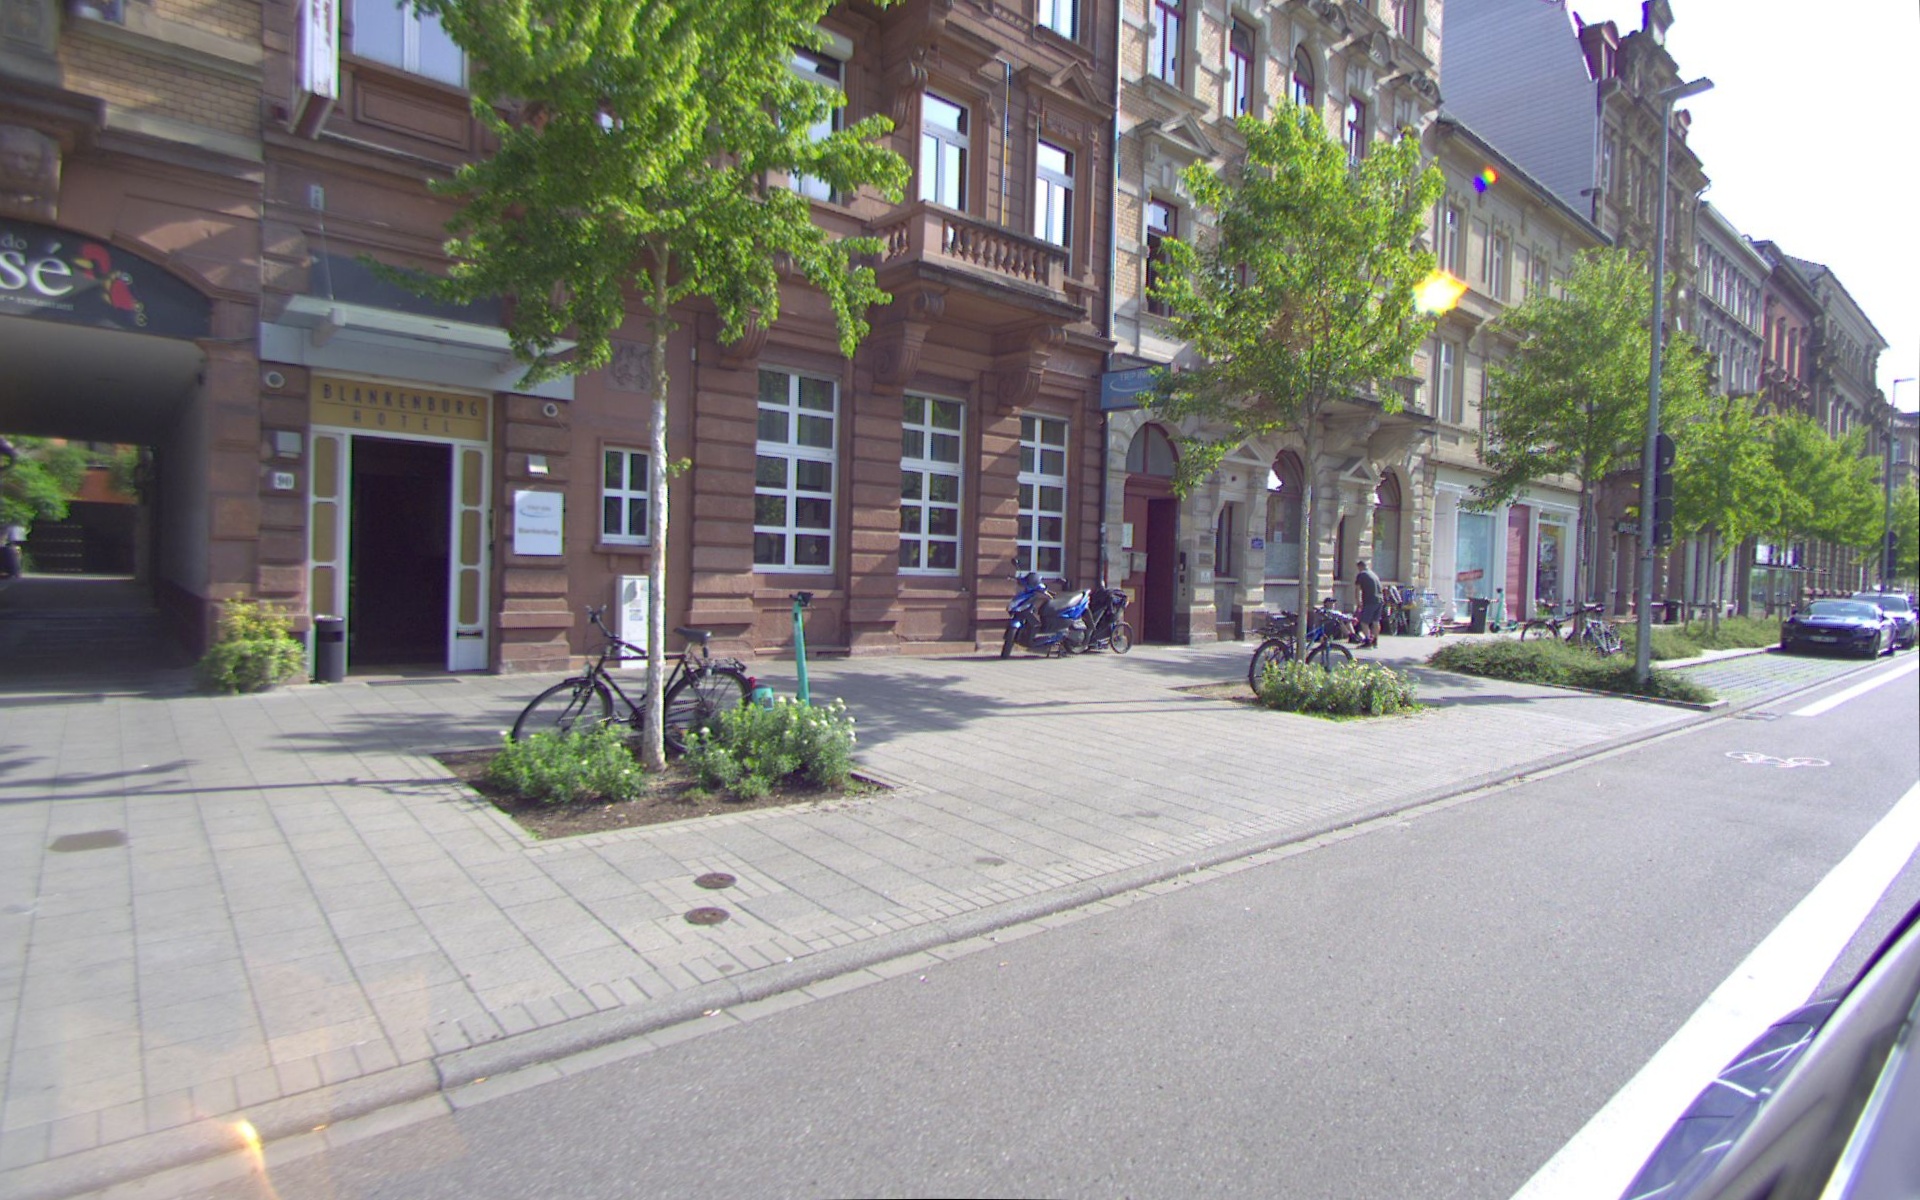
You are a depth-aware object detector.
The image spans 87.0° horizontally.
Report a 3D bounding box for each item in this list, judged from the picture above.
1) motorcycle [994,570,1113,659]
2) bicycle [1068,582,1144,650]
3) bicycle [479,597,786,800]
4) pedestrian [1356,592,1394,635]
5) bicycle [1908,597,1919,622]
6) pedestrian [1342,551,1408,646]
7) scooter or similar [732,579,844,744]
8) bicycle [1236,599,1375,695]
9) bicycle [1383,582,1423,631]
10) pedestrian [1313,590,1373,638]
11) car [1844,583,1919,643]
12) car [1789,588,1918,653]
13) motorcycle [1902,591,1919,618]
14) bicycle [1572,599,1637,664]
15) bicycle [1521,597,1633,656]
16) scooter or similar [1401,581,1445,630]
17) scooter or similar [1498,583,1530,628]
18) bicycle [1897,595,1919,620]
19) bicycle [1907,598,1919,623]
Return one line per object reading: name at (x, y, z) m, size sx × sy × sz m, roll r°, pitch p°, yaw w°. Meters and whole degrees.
motorcycle at (1.364, 0.186, 14.525) m, size 1.911 × 1.189 × 0.464 m, roll 0°, pitch 4°, yaw -41°
bicycle at (2.314, 0.245, 15.984) m, size 1.231 × 1.031 × 0.398 m, roll 0°, pitch 2°, yaw -36°
bicycle at (-2.102, 0.564, 6.727) m, size 0.595 × 1.136 × 1.897 m, roll 2°, pitch 2°, yaw 42°
pedestrian at (8.898, 0.278, 21.704) m, size 0.570 × 0.865 × 0.450 m, roll 6°, pitch 4°, yaw 43°
bicycle at (43.840, 0.477, 45.446) m, size 0.366 × 1.066 × 1.788 m, roll 1°, pitch 3°, yaw -42°
pedestrian at (7.833, -0.038, 19.102) m, size 0.780 × 1.717 × 0.824 m, roll 0°, pitch 4°, yaw -45°
scooter or similar at (-1.427, 0.452, 8.241) m, size 0.333 × 1.171 × 1.261 m, roll 0°, pitch 4°, yaw -36°
bicycle at (4.217, 0.565, 12.316) m, size 1.678 × 1.073 × 0.507 m, roll 2°, pitch 3°, yaw -26°
bicycle at (10.283, 0.141, 23.457) m, size 0.450 × 1.097 × 1.428 m, roll 2°, pitch 2°, yaw 39°
pedestrian at (7.751, 0.273, 20.481) m, size 0.699 × 0.887 × 0.878 m, roll 0°, pitch 4°, yaw -44°
car at (28.317, 0.362, 30.823) m, size 4.179 × 1.607 × 1.771 m, roll 0°, pitch 3°, yaw -45°
car at (22.672, 0.465, 25.620) m, size 4.630 × 1.413 × 1.741 m, roll 0°, pitch 3°, yaw -40°
motorcycle at (47.472, 0.279, 49.395) m, size 2.011 × 1.302 × 0.702 m, roll 4°, pitch 2°, yaw 14°
bicycle at (11.721, 0.542, 18.383) m, size 1.795 × 1.107 × 0.493 m, roll 0°, pitch 2°, yaw -41°
bicycle at (11.889, 0.510, 19.530) m, size 1.842 × 1.095 × 0.455 m, roll 0°, pitch 2°, yaw 1°
scooter or similar at (11.138, 0.115, 24.331) m, size 0.915 × 1.139 × 0.608 m, roll 0°, pitch 2°, yaw -41°
scooter or similar at (14.675, 0.143, 26.795) m, size 1.068 × 1.148 × 0.289 m, roll 0°, pitch 1°, yaw -36°
bicycle at (44.507, 0.375, 46.667) m, size 1.808 × 1.109 × 0.661 m, roll 5°, pitch 4°, yaw 44°
bicycle at (43.540, 0.515, 45.185) m, size 0.366 × 1.066 × 1.788 m, roll 1°, pitch 3°, yaw -42°
